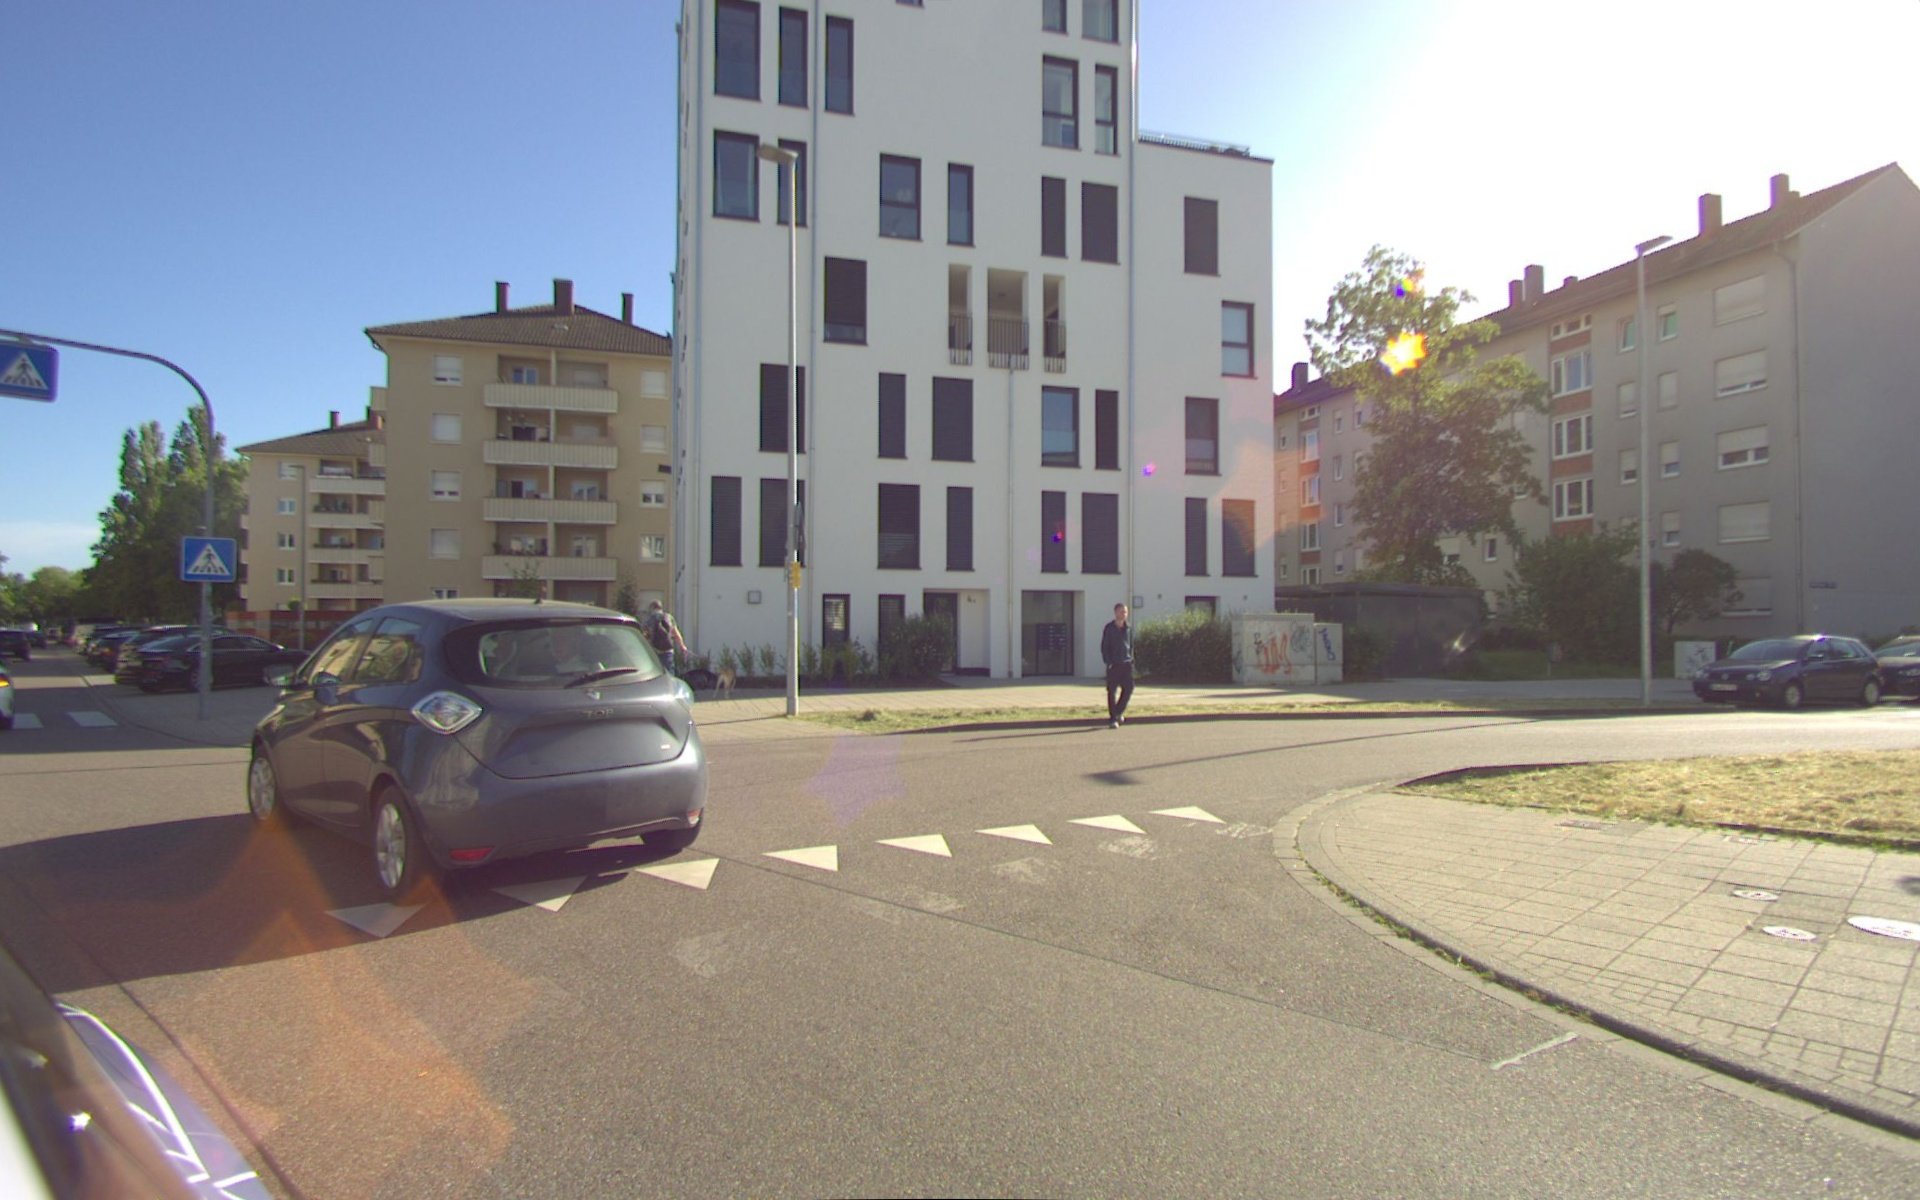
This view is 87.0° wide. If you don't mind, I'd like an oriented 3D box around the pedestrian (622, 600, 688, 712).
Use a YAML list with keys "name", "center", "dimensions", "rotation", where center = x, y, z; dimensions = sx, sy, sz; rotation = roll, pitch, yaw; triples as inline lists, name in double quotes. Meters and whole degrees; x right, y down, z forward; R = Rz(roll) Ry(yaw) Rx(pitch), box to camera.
- name: "pedestrian"
  center: [-5.986, 1.084, 19.856]
  dimensions: [0.953, 2.137, 0.769]
  rotation: [-2, -1, 26]

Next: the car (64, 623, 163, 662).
- name: "car"
  center: [-48.938, 2.422, 58.588]
  dimensions: [1.989, 2.029, 3.965]
  rotation: [1, 0, 26]

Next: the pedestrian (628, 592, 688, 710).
- name: "pedestrian"
  center: [-5.020, 0.819, 16.816]
  dimensions: [0.777, 1.899, 0.849]
  rotation: [1, 0, -27]

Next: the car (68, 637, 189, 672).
- name: "car"
  center: [-38.852, 2.510, 47.398]
  dimensions: [1.986, 1.264, 3.973]
  rotation: [1, 2, 21]

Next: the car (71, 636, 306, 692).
- name: "car"
  center: [-19.738, 1.611, 26.166]
  dimensions: [1.984, 1.176, 4.537]
  rotation: [-1, -1, 18]

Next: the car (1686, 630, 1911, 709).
- name: "car"
  center: [16.898, 1.359, 20.408]
  dimensions: [3.931, 1.431, 1.678]
  rotation: [1, 0, -19]

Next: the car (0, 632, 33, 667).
- name: "car"
  center: [-48.146, 2.459, 51.006]
  dimensions: [4.113, 1.541, 1.719]
  rotation: [1, 0, 42]

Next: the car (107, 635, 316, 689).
- name: "car"
  center: [-21.329, 1.734, 29.102]
  dimensions: [1.984, 1.442, 4.537]
  rotation: [-1, -2, 18]

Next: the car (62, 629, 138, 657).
- name: "car"
  center: [-63.332, 3.142, 74.544]
  dimensions: [1.998, 1.851, 3.948]
  rotation: [1, 0, 39]

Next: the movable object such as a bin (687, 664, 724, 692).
- name: "movable object such as a bin"
  center: [-5.173, 1.576, 20.602]
  dimensions: [0.677, 0.546, 0.272]
  rotation: [0, -1, 4]

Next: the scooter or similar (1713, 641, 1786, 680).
- name: "scooter or similar"
  center: [22.195, 1.703, 28.449]
  dimensions: [1.840, 1.054, 0.534]
  rotation: [0, -2, -13]

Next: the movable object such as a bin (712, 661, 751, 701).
- name: "movable object such as a bin"
  center: [-4.211, 1.478, 18.672]
  dimensions: [0.270, 0.685, 0.843]
  rotation: [0, -1, 21]

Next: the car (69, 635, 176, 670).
- name: "car"
  center: [-44.381, 2.741, 53.700]
  dimensions: [1.994, 1.652, 3.955]
  rotation: [1, 0, 33]

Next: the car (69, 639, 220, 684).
- name: "car"
  center: [-30.515, 2.257, 37.987]
  dimensions: [1.987, 1.412, 3.969]
  rotation: [1, 0, 23]

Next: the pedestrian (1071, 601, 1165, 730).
- name: "pedestrian"
  center: [2.187, 0.892, 14.090]
  dimensions: [0.962, 1.727, 0.876]
  rotation: [1, -2, -21]

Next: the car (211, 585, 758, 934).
- name: "car"
  center: [-3.264, 0.709, 6.505]
  dimensions: [4.139, 1.515, 1.816]
  rotation: [0, -1, 44]

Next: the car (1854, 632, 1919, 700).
- name: "car"
  center: [21.386, 1.383, 21.732]
  dimensions: [3.931, 1.386, 1.414]
  rotation: [0, -2, -18]

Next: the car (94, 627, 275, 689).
- name: "car"
  center: [-23.331, 1.692, 30.624]
  dimensions: [1.982, 1.664, 3.980]
  rotation: [-1, -1, 15]

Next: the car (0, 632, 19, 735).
- name: "car"
  center: [-16.335, 1.270, 16.009]
  dimensions: [4.640, 1.516, 1.864]
  rotation: [-3, -6, 45]
